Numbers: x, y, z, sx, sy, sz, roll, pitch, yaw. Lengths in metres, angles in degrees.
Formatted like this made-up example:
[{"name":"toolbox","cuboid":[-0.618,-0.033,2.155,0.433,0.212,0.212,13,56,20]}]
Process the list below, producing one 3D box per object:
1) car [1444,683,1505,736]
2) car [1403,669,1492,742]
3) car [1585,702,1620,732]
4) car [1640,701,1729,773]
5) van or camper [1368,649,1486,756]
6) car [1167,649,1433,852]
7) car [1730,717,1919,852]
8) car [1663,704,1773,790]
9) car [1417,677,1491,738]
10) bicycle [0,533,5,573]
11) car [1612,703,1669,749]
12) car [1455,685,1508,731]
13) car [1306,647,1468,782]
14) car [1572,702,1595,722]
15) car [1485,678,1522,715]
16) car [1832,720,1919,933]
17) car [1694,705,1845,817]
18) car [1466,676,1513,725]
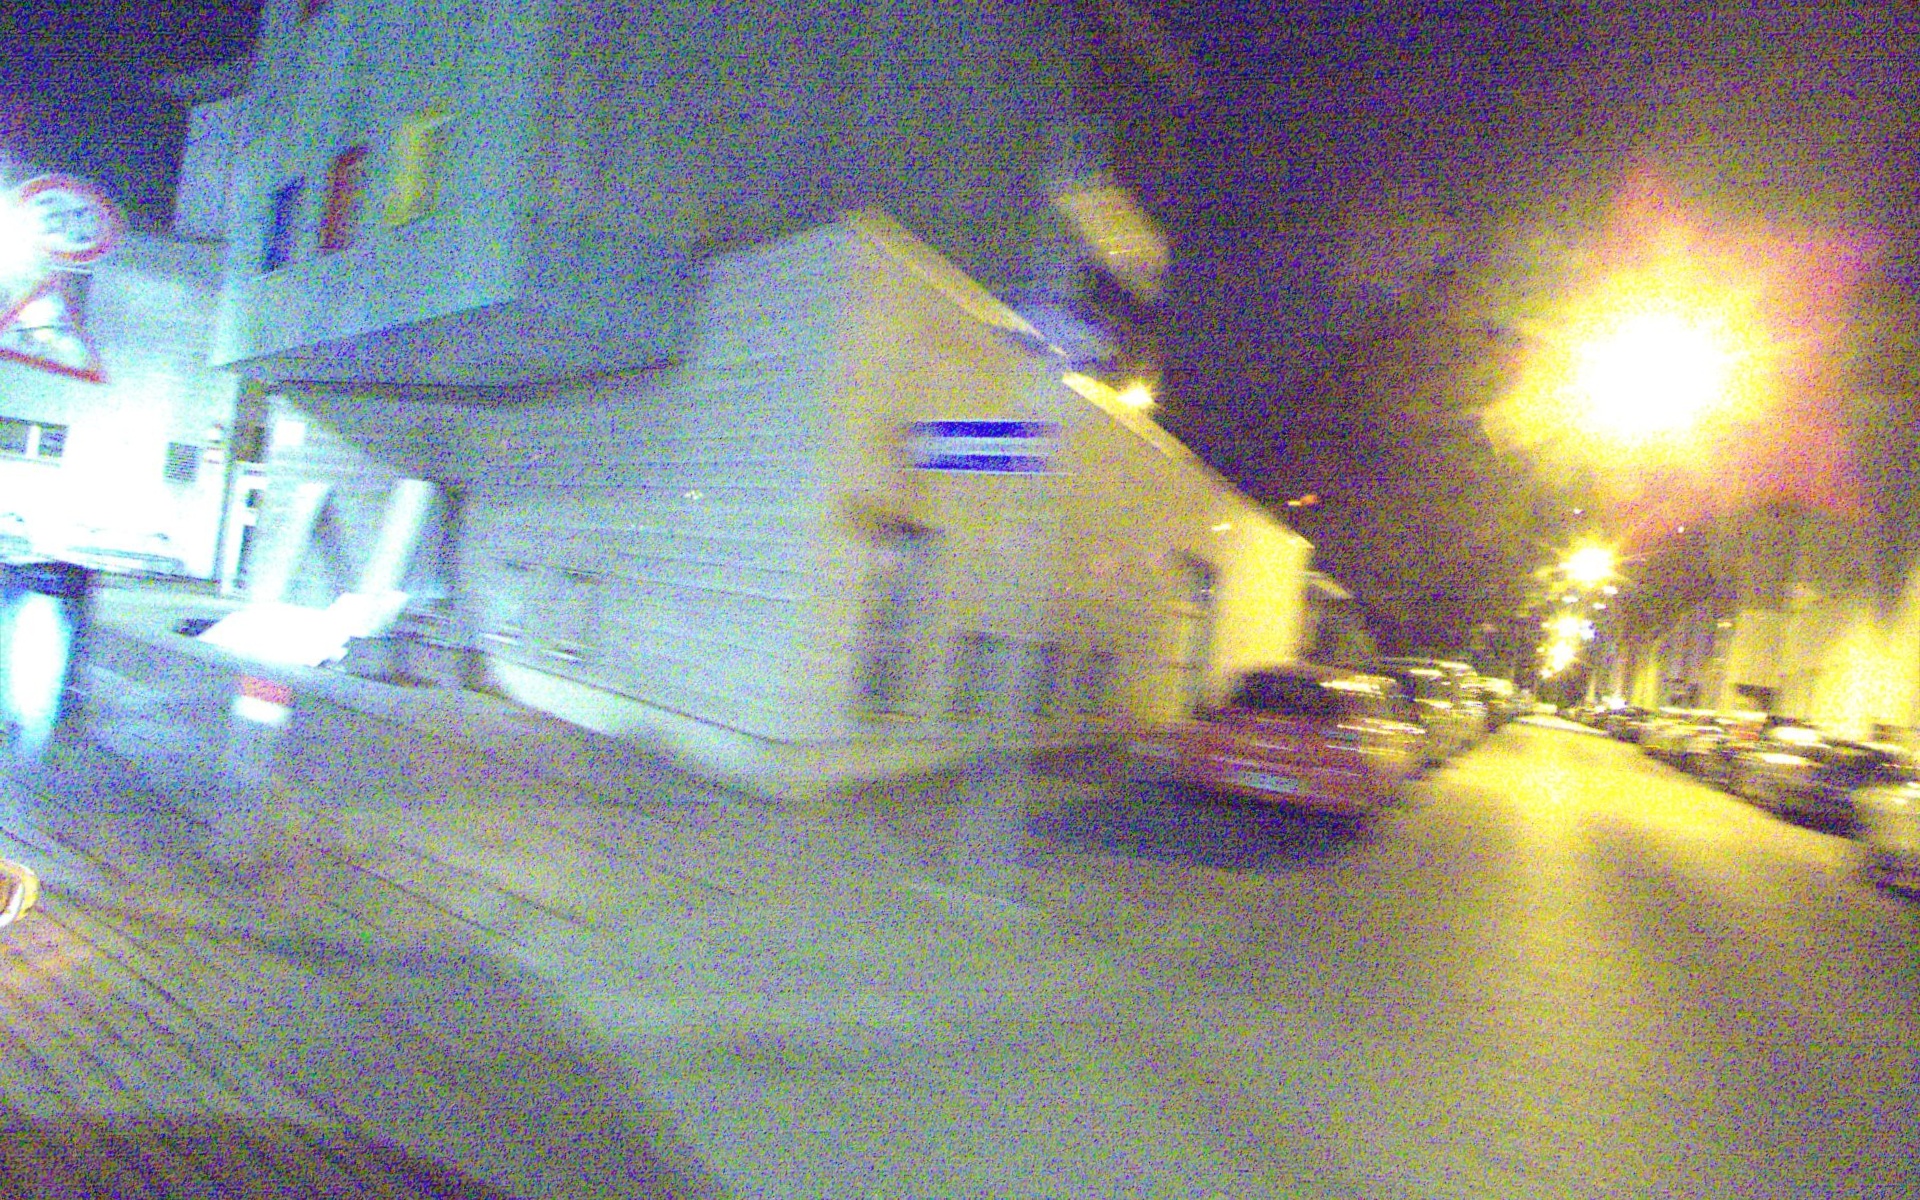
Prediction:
[{"name":"car","cuboid":[17.017,3.576,33.215,1.539,1.518,3.263,2,-2,31]},{"name":"car","cuboid":[12.624,2.704,25.944,1.634,1.518,3.265,8,-1,31]},{"name":"car","cuboid":[42.017,7.605,65.854,1.670,1.567,3.739,11,1,32]},{"name":"car","cuboid":[22.002,4.110,30.694,1.669,1.686,4.208,11,1,32]},{"name":"van or camper","cuboid":[9.491,2.055,20.304,1.634,1.775,3.571,7,-2,31]},{"name":"car","cuboid":[3.574,1.349,10.153,1.697,1.460,3.617,7,0,31]},{"name":"car","cuboid":[13.919,2.855,16.317,1.669,1.498,3.940,11,1,32]},{"name":"car","cuboid":[19.364,3.685,25.859,1.669,1.686,3.940,11,1,32]},{"name":"car","cuboid":[14.496,3.095,29.464,1.635,1.518,3.263,2,-2,31]},{"name":"bicycle","cuboid":[-9.671,-0.186,8.836,0.340,1.074,1.759,7,-1,28]},{"name":"car","cuboid":[29.875,5.502,44.252,1.670,1.567,3.739,11,1,32]},{"name":"car","cuboid":[19.859,4.078,38.244,1.539,1.518,3.263,2,-2,31]},{"name":"car","cuboid":[6.675,1.705,15.489,1.634,1.607,3.858,7,-1,31]},{"name":"car","cuboid":[61.952,11.141,99.970,1.670,1.567,3.739,11,1,32]},{"name":"car","cuboid":[28.361,5.014,52.453,1.539,1.714,3.263,2,-2,31]},{"name":"car","cuboid":[9.149,2.055,8.464,1.868,1.659,4.311,9,0,32]},{"name":"car","cuboid":[16.330,3.158,20.488,1.669,1.686,3.940,11,1,32]},{"name":"car","cuboid":[22.501,4.227,42.682,1.539,1.872,3.263,2,-2,31]}]
